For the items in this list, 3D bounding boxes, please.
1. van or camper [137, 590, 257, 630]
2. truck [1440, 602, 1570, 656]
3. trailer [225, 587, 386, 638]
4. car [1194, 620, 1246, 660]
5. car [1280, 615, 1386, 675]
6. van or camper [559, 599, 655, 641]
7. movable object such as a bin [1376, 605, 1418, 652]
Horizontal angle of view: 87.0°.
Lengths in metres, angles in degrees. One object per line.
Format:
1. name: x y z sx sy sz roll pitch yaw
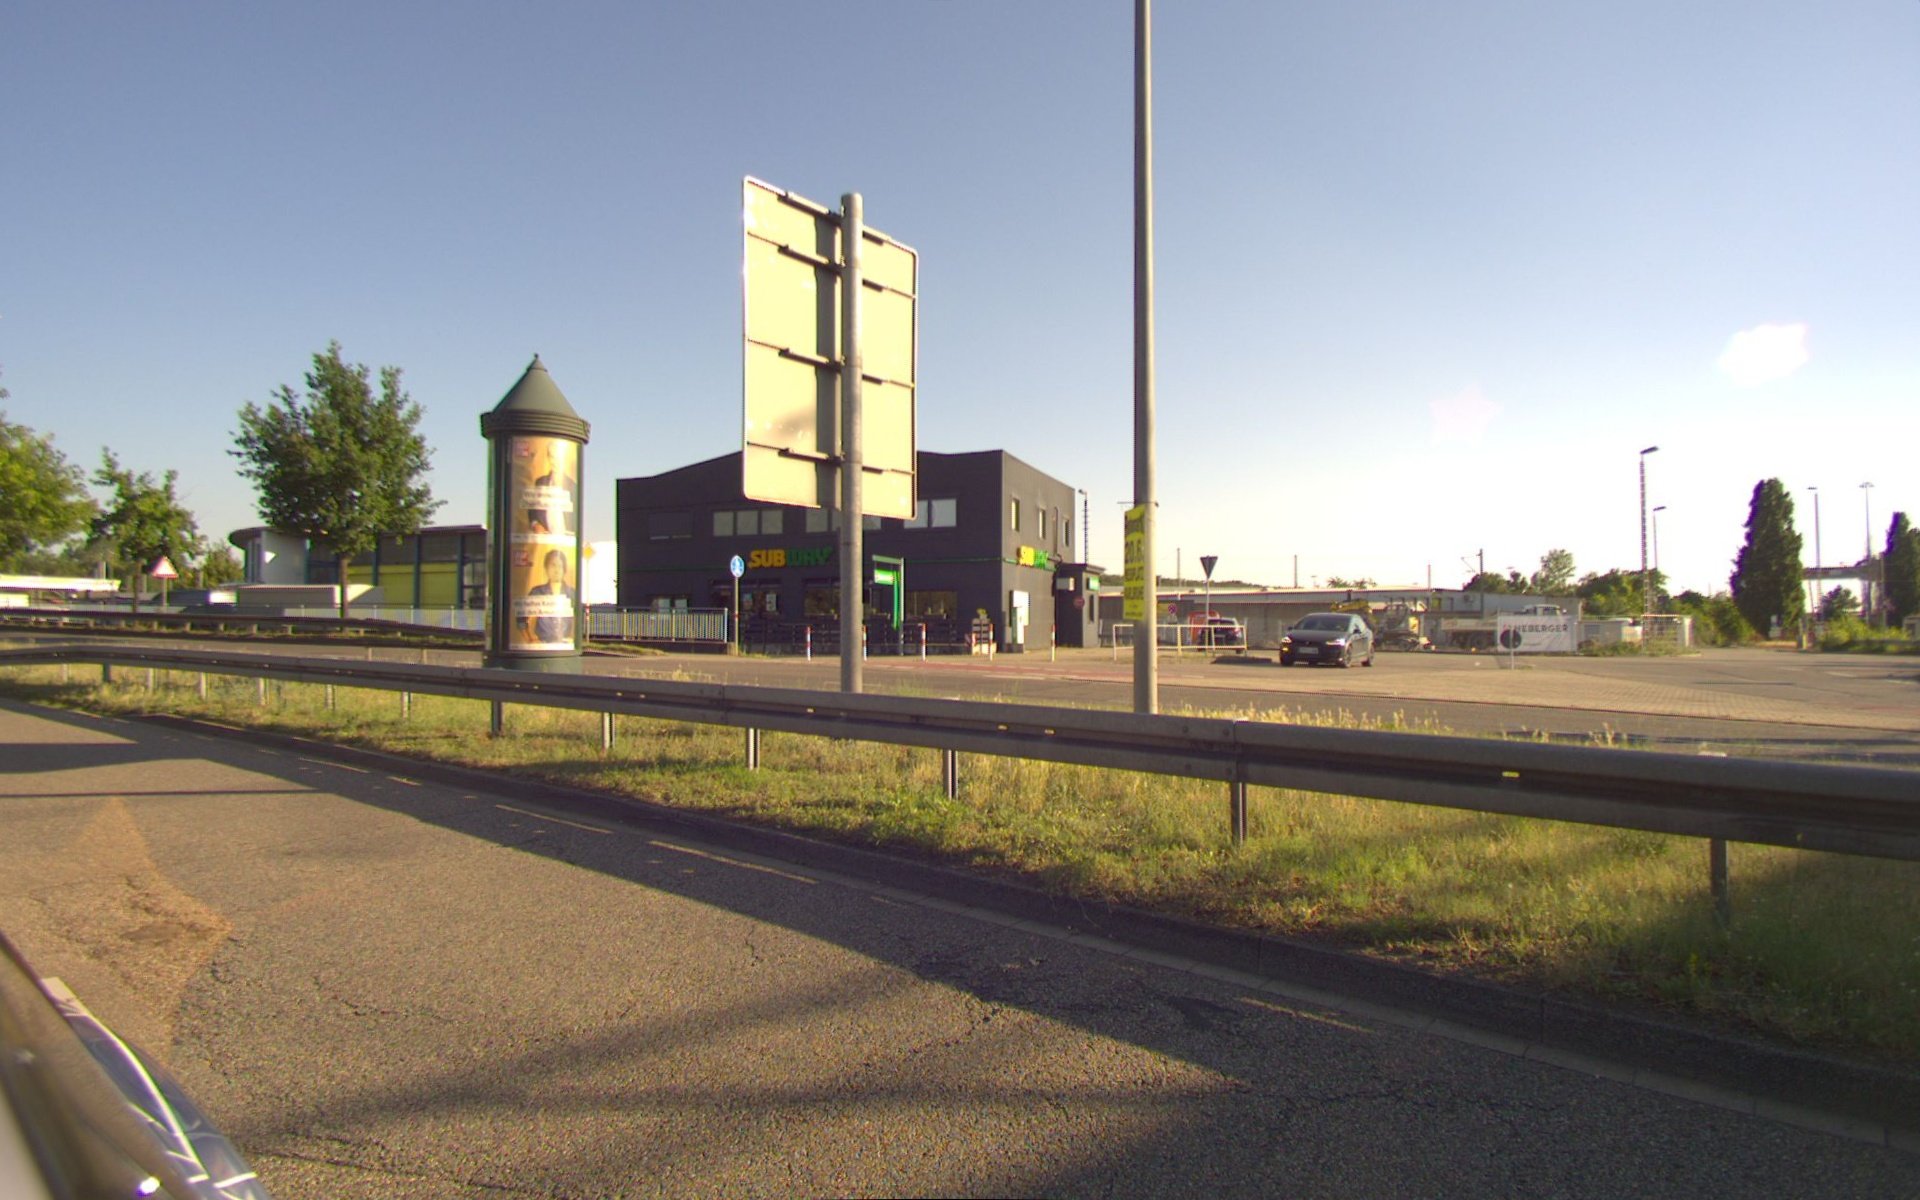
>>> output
1. van or camper: -34.435 0.436 45.679 4.924 1.698 1.986 1 0 21
2. truck: 34.013 1.778 63.374 6.696 3.168 2.434 1 -1 6
3. trailer: -27.753 0.491 42.898 6.560 1.985 2.410 1 0 22
4. car: 10.983 1.634 42.608 1.829 1.541 3.976 1 0 18
5. car: 11.566 1.324 31.227 1.789 1.676 4.460 0 -1 38
6. van or camper: -17.706 1.005 50.828 4.158 1.940 2.006 2 -1 -33
7. movable object such as a bin: 26.243 1.684 60.728 2.210 2.735 1.723 0 -1 28
